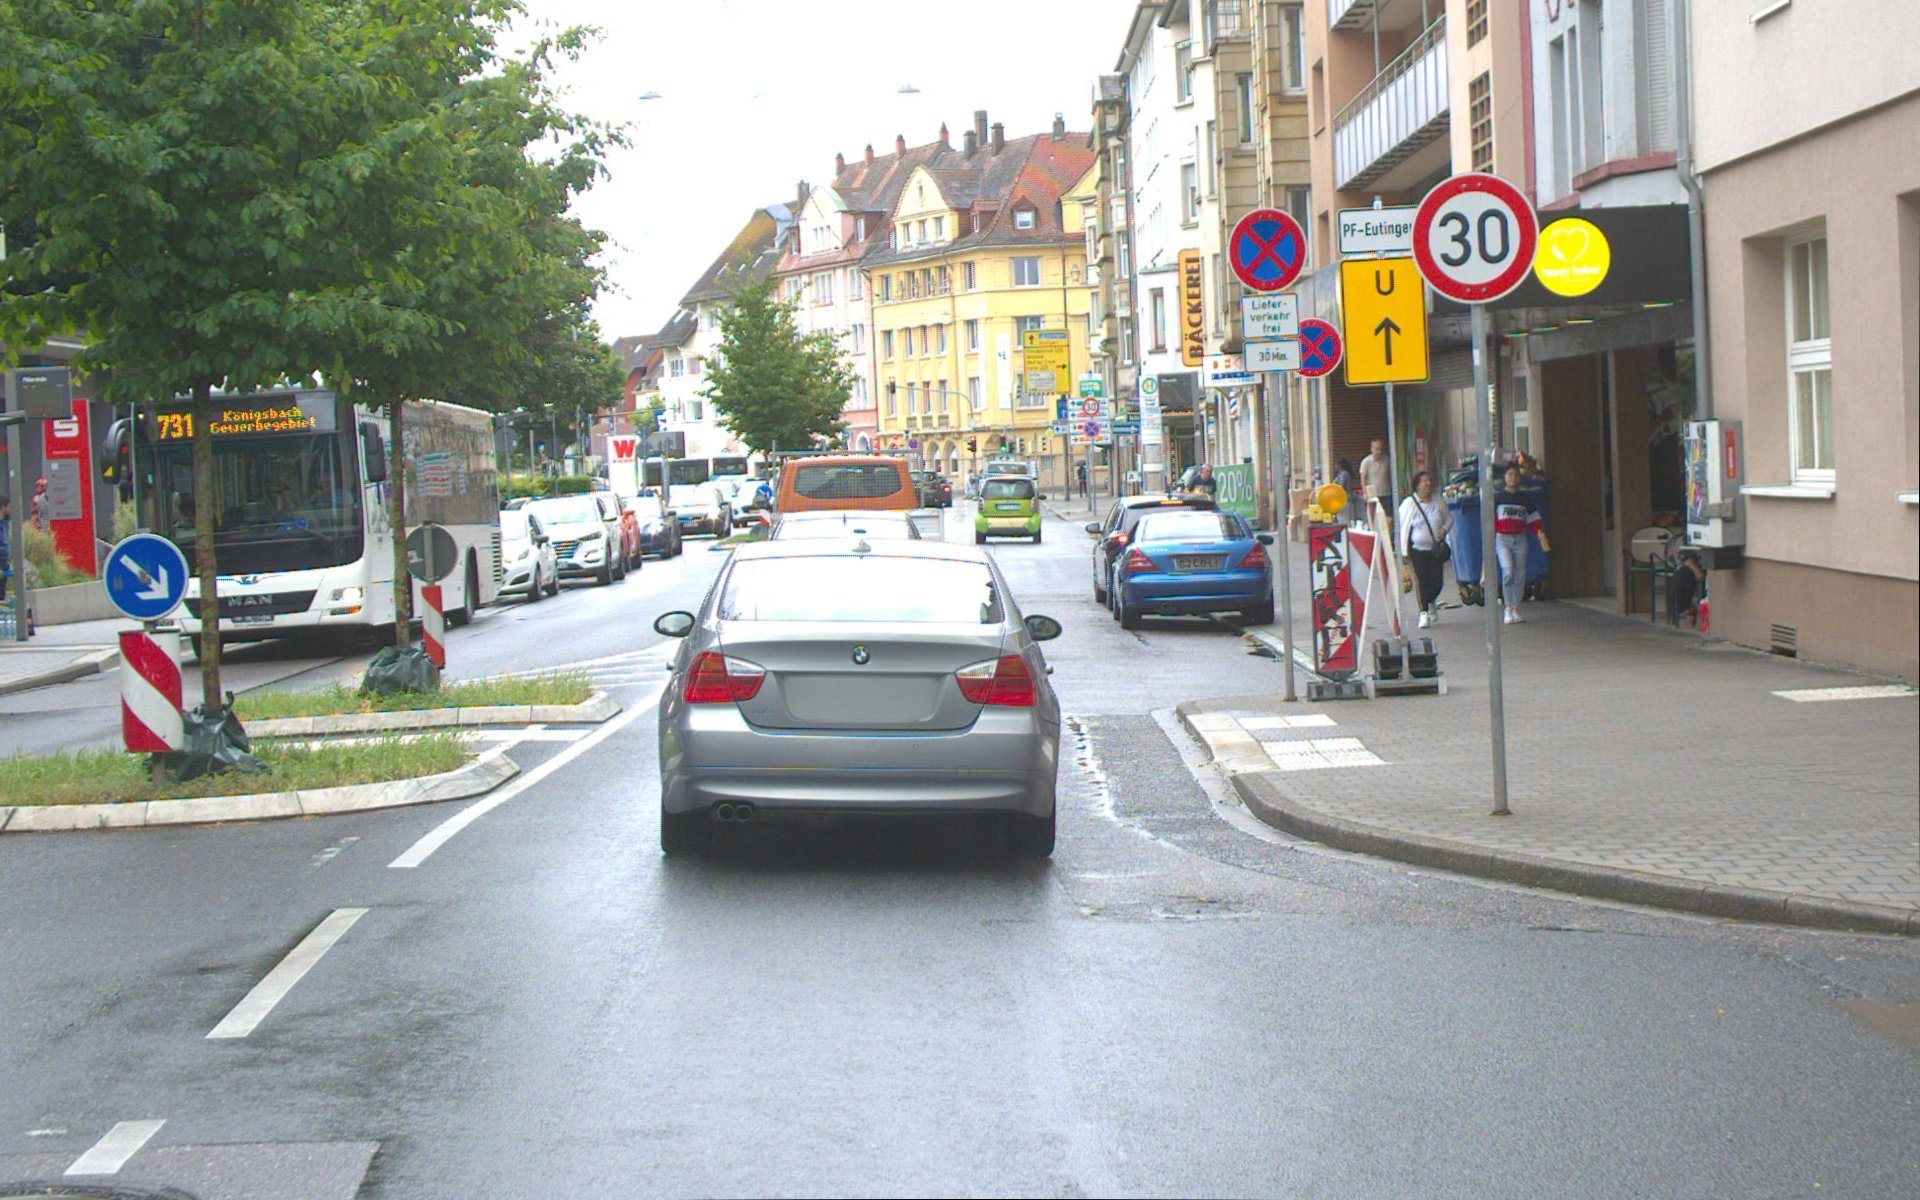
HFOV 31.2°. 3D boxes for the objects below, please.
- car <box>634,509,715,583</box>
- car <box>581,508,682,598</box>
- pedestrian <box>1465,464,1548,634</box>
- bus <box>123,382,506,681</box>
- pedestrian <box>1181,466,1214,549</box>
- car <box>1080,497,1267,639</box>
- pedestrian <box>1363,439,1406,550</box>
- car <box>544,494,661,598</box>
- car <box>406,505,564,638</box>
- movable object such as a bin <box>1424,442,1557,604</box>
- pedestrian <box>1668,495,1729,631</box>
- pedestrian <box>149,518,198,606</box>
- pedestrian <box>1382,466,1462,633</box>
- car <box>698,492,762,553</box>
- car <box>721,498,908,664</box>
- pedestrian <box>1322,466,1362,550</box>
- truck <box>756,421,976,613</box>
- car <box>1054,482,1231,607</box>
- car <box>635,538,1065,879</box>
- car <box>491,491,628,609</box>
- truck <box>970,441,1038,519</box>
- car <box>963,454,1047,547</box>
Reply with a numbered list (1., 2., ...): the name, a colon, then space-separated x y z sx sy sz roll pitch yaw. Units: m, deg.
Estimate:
1. car: -8.142 -1.528 98.237 1.993 2.007 4.000 1 0 -1
2. car: -7.594 -1.075 79.862 1.993 2.007 4.000 1 0 -1
3. pedestrian: 5.396 -0.502 33.999 0.750 1.655 0.754 1 0 6
4. bus: -7.774 -0.747 43.182 2.681 3.190 11.956 1 0 -1
5. pedestrian: 4.138 -1.612 59.911 0.522 1.416 0.430 1 0 9
6. car: 2.382 -0.349 39.251 1.809 1.514 4.000 1 0 -1
7. pedestrian: 6.488 -1.609 52.519 0.615 1.655 0.754 1 0 6
8. car: -7.224 -1.064 69.766 1.993 2.007 4.000 1 0 -1
9. car: -7.550 -0.441 54.977 1.993 2.007 4.000 1 0 -1
10. movable object such as a bin: 5.831 -0.832 37.878 1.122 1.697 1.434 -3 0 -2
11. pedestrian: 6.689 -0.340 31.138 0.412 1.199 0.357 -4 2 3
12. pedestrian: -12.378 -0.591 54.119 0.619 1.373 0.544 1 0 1
13. pedestrian: 4.638 -0.502 34.566 0.749 1.655 0.836 1 0 6
14. car: -7.970 -2.672 119.416 1.993 2.007 4.000 1 0 -1
15. car: -1.324 -0.165 31.491 1.601 1.415 3.288 1 0 -2
16. pedestrian: 6.520 -1.568 58.701 0.565 1.416 0.796 1 0 13
17. truck: -1.210 -0.975 41.666 2.215 2.109 4.653 2 0 -6
18. car: 2.315 -0.685 44.552 1.993 1.514 4.000 1 0 -1
19. car: -0.451 0.415 15.676 1.756 1.358 3.165 0 2 0
20. car: -7.086 -0.861 61.224 1.993 2.007 4.000 1 0 -1
21. truck: 1.526 -4.177 120.636 2.216 2.535 4.780 1 0 -1
22. car: 1.007 -2.259 79.204 1.705 2.007 4.000 1 0 -2
